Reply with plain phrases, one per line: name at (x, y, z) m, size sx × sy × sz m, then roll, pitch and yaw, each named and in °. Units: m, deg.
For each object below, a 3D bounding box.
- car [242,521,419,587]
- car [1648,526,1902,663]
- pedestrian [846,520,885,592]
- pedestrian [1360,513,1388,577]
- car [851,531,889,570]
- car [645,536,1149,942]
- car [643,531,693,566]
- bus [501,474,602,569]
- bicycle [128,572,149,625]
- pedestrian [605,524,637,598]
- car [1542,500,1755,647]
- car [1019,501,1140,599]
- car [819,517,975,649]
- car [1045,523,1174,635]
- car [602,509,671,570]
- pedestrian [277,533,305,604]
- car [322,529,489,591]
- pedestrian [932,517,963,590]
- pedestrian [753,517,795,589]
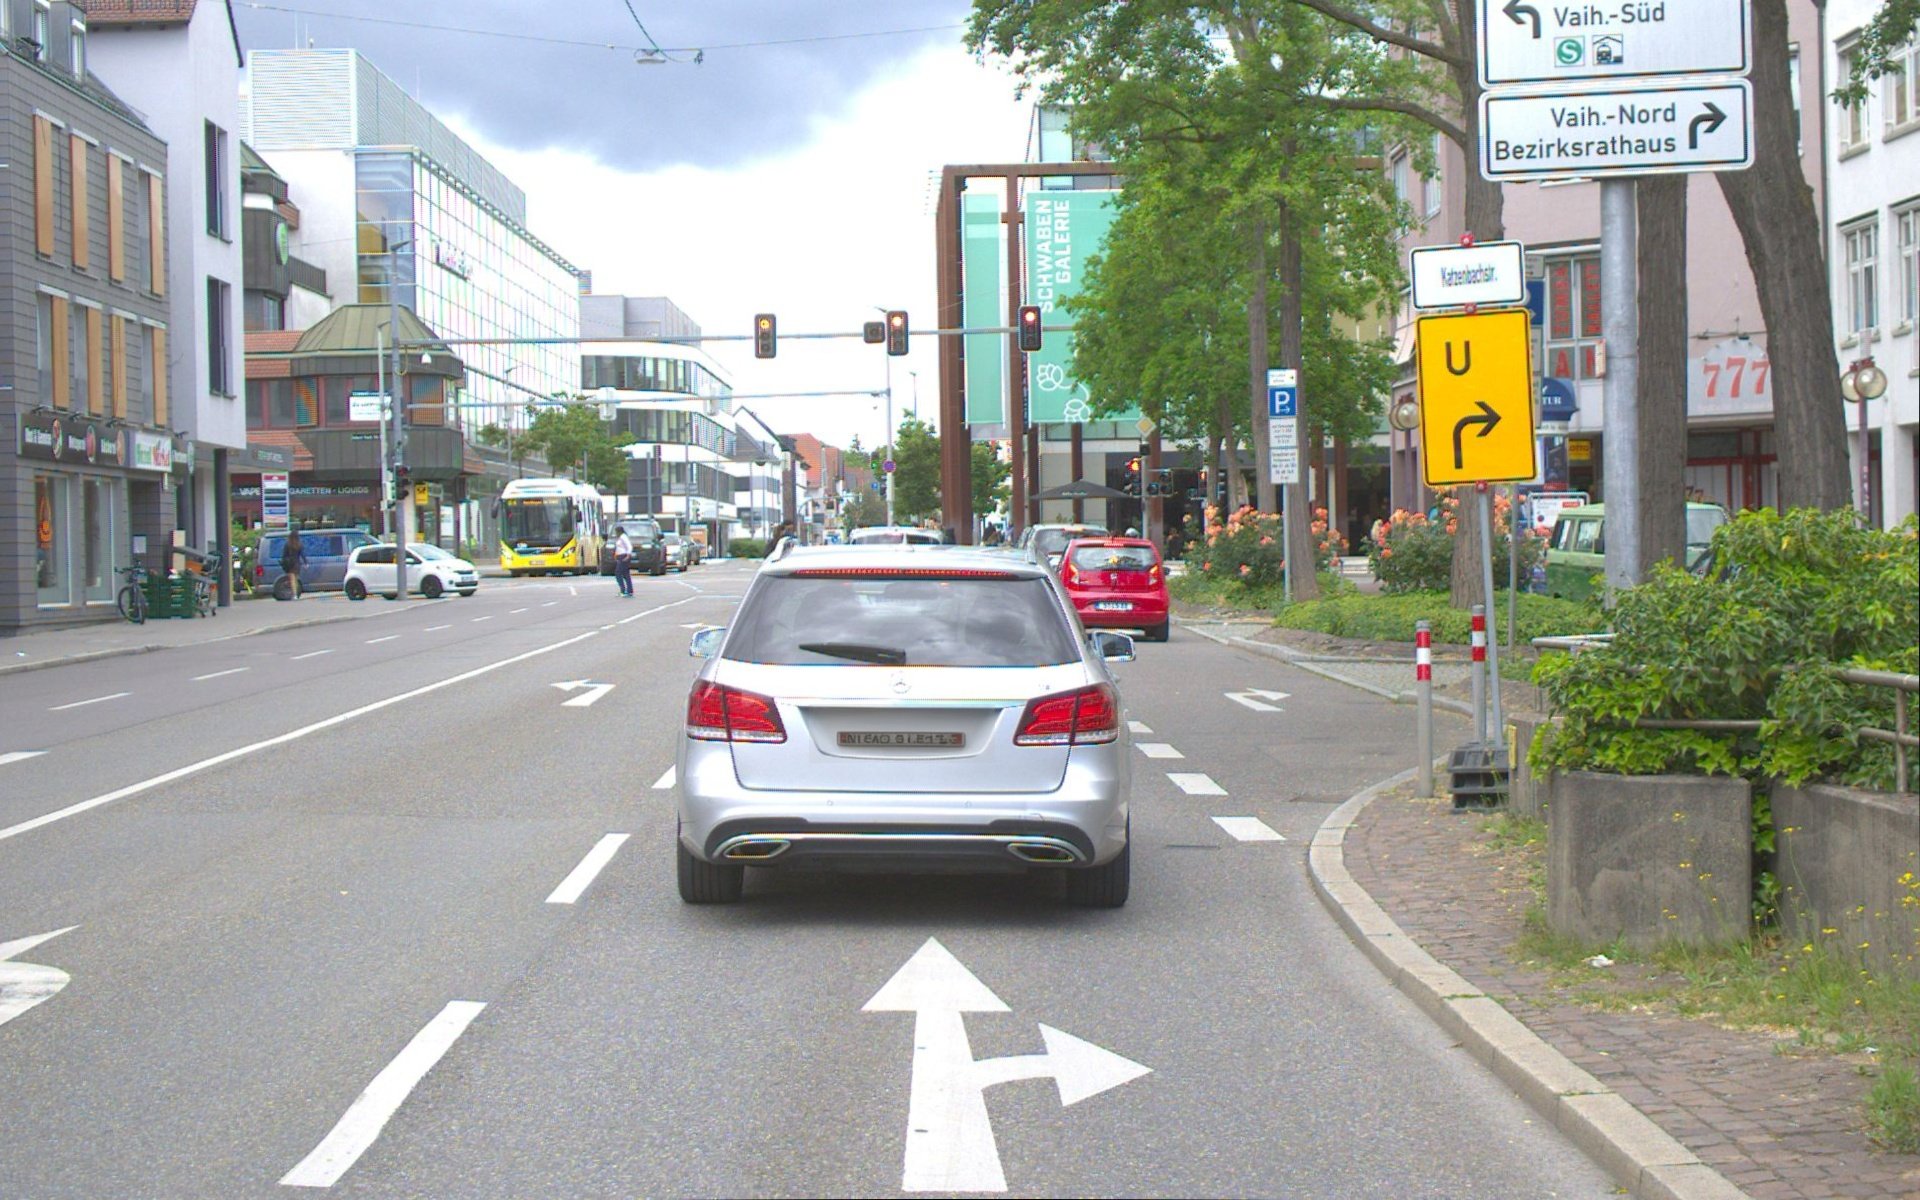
car at (-18.233, -1.350, 99.561) m, size 4.906 × 1.816 × 2.001 m, roll -1°, pitch 1°, yaw -14°
car at (9.680, -0.101, 41.119) m, size 1.866 × 1.522 × 4.001 m, roll -1°, pitch 1°, yaw -3°
pedestrian at (-2.181, -1.024, 79.424) m, size 0.833 × 1.629 × 0.588 m, roll 2°, pitch 1°, yaw -4°
pedestrian at (10.723, -1.436, 88.936) m, size 0.613 × 1.629 × 0.587 m, roll 2°, pitch 1°, yaw 12°
car at (-4.812, -2.669, 184.764) m, size 1.993 × 2.007 × 4.000 m, roll -1°, pitch 1°, yaw -1°
car at (-0.331, 0.484, 14.857) m, size 1.874 × 1.501 × 4.001 m, roll -1°, pitch 1°, yaw -3°
car at (-10.828, -1.910, 127.627) m, size 1.575 × 1.240 × 3.607 m, roll -1°, pitch 1°, yaw 0°
bus at (-14.018, -2.689, 118.239) m, size 2.775 × 3.154 × 5.933 m, roll -1°, pitch 1°, yaw -1°
bicycle at (-14.171, -0.033, 59.296) m, size 0.273 × 0.888 × 1.229 m, roll -1°, pitch 1°, yaw -10°
pedestrian at (-7.643, -0.887, 77.529) m, size 0.613 × 1.629 × 0.588 m, roll 2°, pitch 1°, yaw -10°
car at (9.228, -0.382, 46.379) m, size 1.866 × 1.858 × 4.001 m, roll -1°, pitch 1°, yaw -3°
car at (2.141, -0.925, 62.610) m, size 1.993 × 1.678 × 4.000 m, roll -1°, pitch 1°, yaw -1°
car at (-0.835, -0.259, 46.523) m, size 1.993 × 1.678 × 4.000 m, roll -1°, pitch 1°, yaw -1°
car at (2.143, -0.274, 50.064) m, size 1.754 × 1.516 × 4.000 m, roll -1°, pitch -1°, yaw 1°
car at (-10.998, -2.059, 117.097) m, size 1.993 × 2.007 × 4.000 m, roll -1°, pitch 1°, yaw 0°
pedestrian at (-16.016, -0.767, 82.277) m, size 0.586 × 1.664 × 0.642 m, roll 2°, pitch 2°, yaw -14°
car at (-14.334, -1.028, 88.916) m, size 3.992 × 1.525 × 1.664 m, roll 0°, pitch 1°, yaw 25°
pedestrian at (-0.287, -1.069, 78.083) m, size 0.613 × 1.629 × 0.588 m, roll 2°, pitch 1°, yaw -4°
pedestrian at (-4.302, -1.095, 79.533) m, size 0.857 × 1.629 × 0.588 m, roll 2°, pitch 1°, yaw 1°
